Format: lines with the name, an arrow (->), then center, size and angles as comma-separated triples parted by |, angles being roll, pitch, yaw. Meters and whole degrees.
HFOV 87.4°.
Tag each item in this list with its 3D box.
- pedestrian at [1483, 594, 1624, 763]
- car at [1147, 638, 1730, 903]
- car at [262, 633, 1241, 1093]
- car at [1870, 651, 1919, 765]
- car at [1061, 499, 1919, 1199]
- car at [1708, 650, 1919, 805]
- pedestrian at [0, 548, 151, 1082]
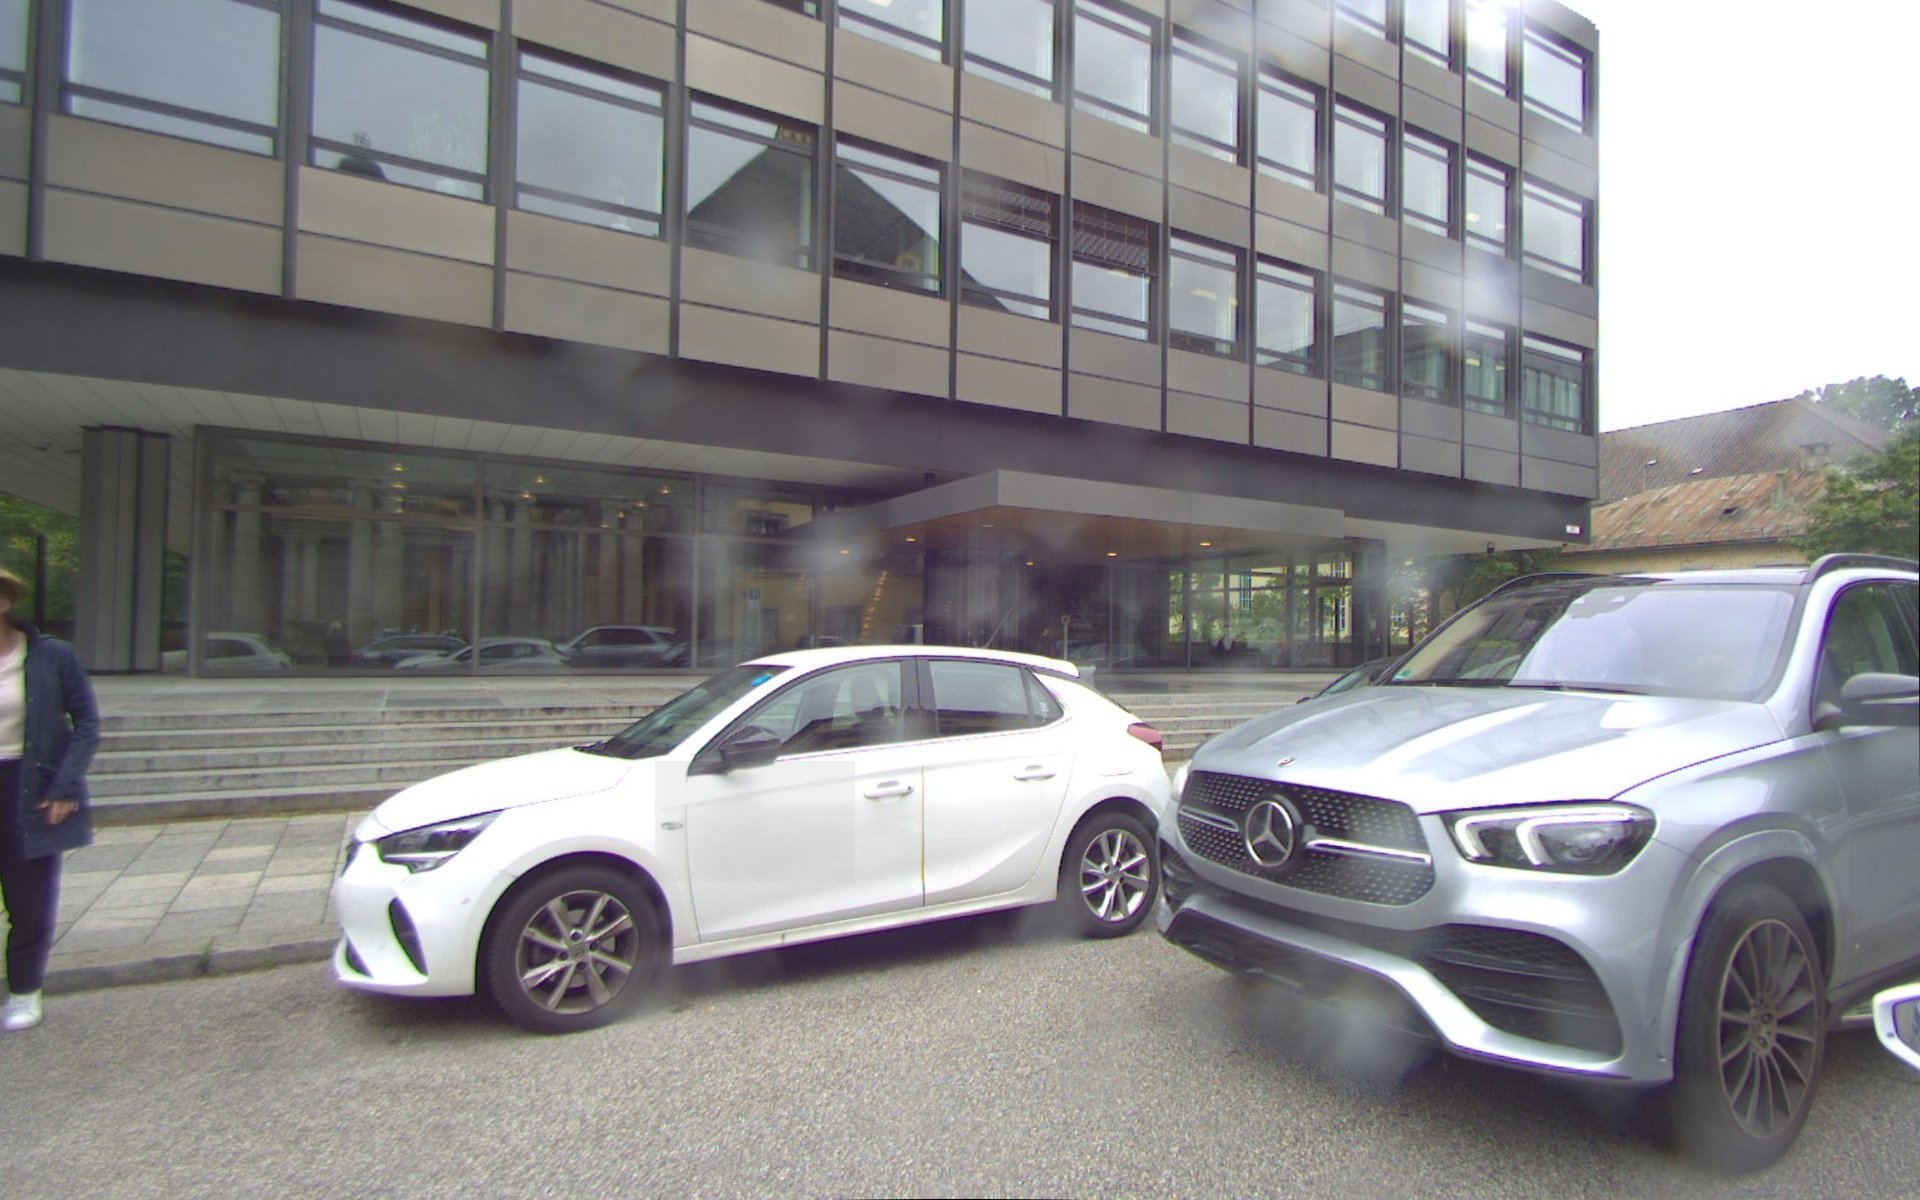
pedestrian -> 7.770, 0.984, 13.166 | 1.207, 2.082, 1.130 | 2, -1, -30
car -> 3.584, 1.072, 7.408 | 4.184, 1.480, 1.733 | 2, -5, -28
car -> -0.773, 0.965, 5.008 | 4.227, 1.458, 1.675 | 2, -5, -29
car -> 15.163, 1.492, 14.141 | 4.823, 1.510, 1.986 | 2, -4, -29
car -> 2.891, 0.736, 4.168 | 4.619, 1.711, 2.017 | 2, -3, -28
car -> 10.740, 1.341, 11.400 | 4.863, 1.458, 1.913 | 3, -5, -31
pedestrian -> -3.555, 0.738, 3.692 | 0.681, 1.774, 0.887 | 1, -4, -27
